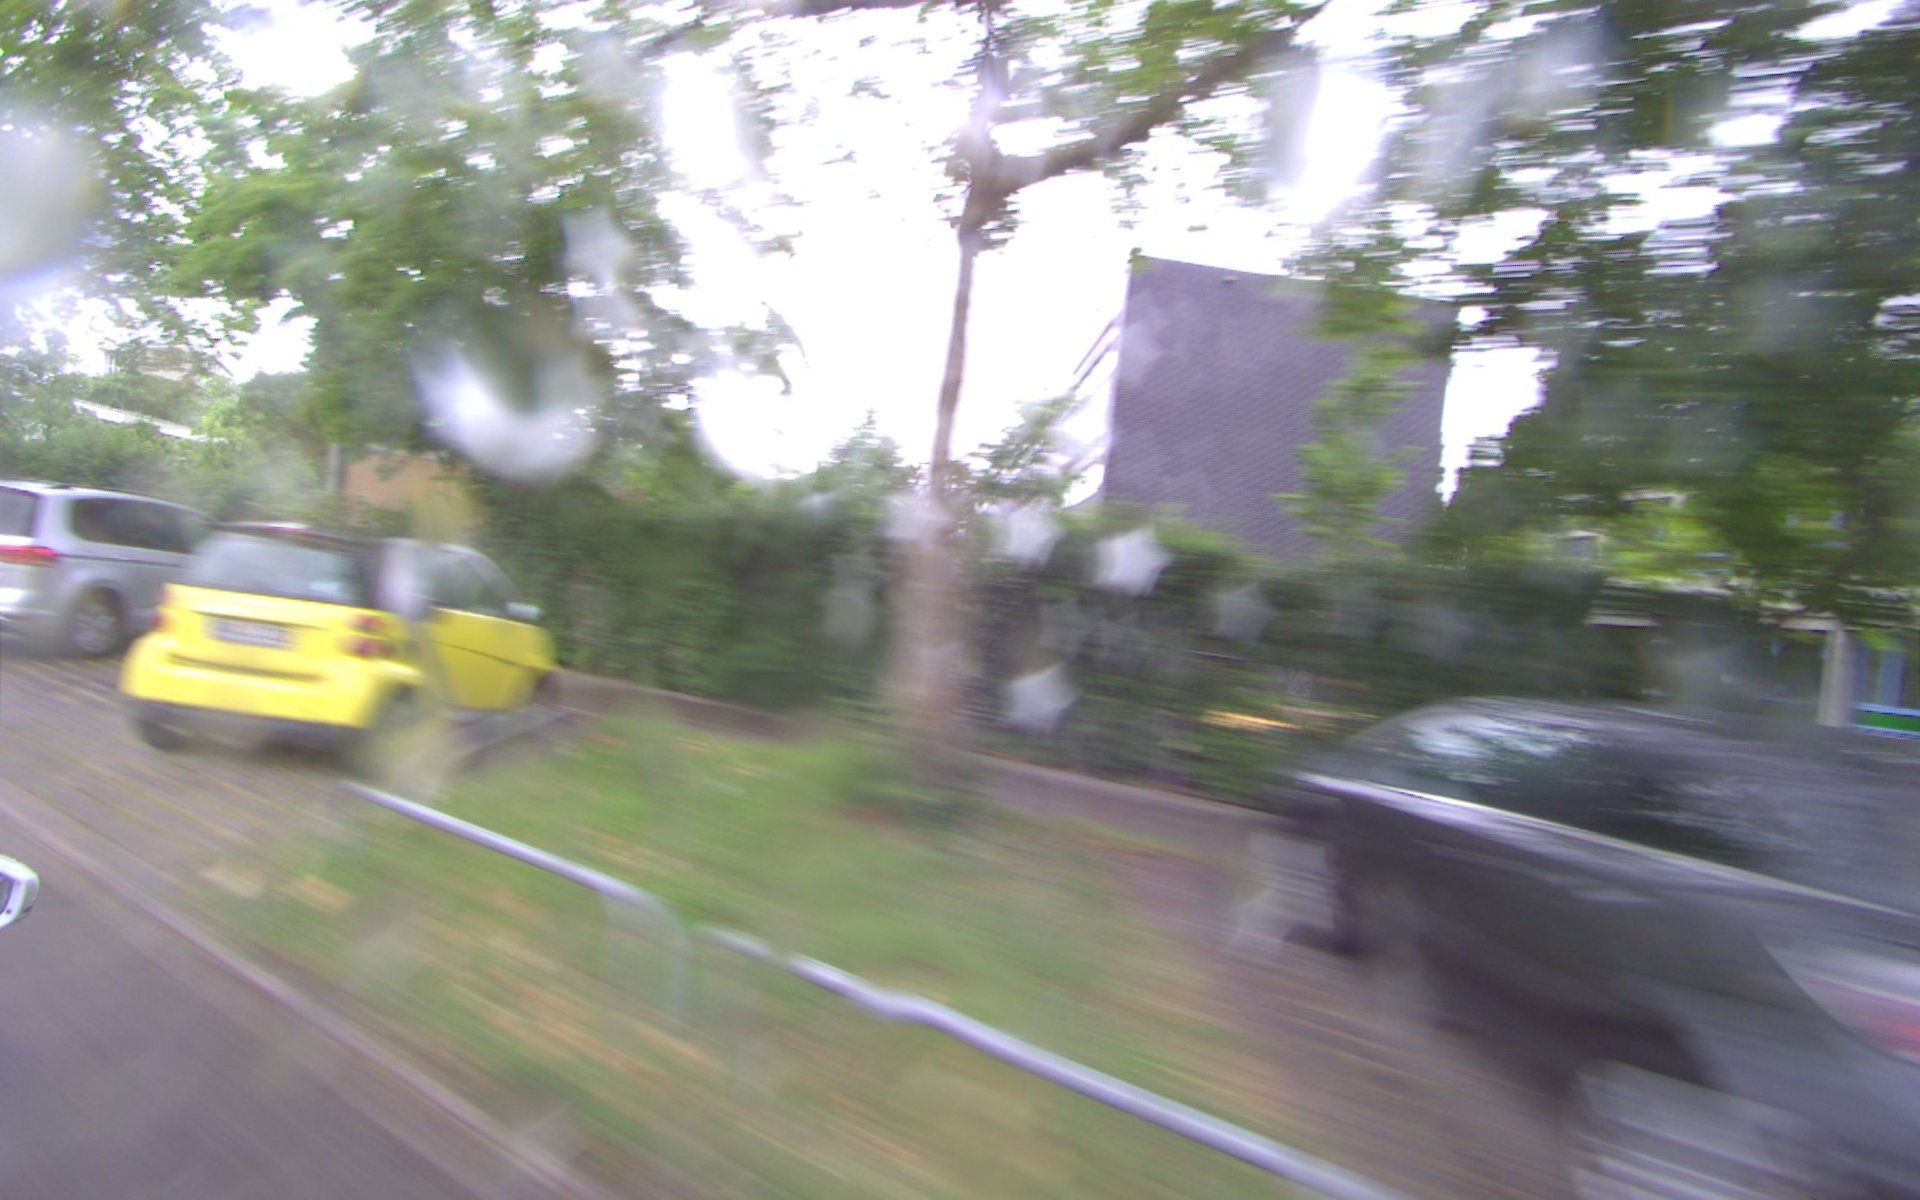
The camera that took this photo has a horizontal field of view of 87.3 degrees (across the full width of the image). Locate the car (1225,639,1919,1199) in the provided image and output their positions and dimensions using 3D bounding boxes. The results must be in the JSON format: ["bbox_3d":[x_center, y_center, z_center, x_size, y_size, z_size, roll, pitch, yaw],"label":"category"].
[{"bbox_3d":[2.575,1.061,3.819,1.711,1.436,4.058,5,1,-4],"label":"car"}]

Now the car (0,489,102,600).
[{"bbox_3d":[-14.208,-0.860,13.933,1.817,1.538,3.400,5,1,-5],"label":"car"}]

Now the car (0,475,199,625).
[{"bbox_3d":[-11.644,-0.656,12.672,1.563,1.693,3.272,5,1,-1],"label":"car"}]

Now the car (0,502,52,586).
[{"bbox_3d":[-16.933,-1.059,15.789,1.711,1.401,4.301,7,-1,-7],"label":"car"}]

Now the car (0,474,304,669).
[{"bbox_3d":[-9.037,-0.344,10.694,1.625,1.661,4.043,7,0,-5],"label":"car"}]

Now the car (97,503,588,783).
[{"bbox_3d":[-4.165,0.241,7.328,1.573,1.485,2.904,6,1,4],"label":"car"}]
